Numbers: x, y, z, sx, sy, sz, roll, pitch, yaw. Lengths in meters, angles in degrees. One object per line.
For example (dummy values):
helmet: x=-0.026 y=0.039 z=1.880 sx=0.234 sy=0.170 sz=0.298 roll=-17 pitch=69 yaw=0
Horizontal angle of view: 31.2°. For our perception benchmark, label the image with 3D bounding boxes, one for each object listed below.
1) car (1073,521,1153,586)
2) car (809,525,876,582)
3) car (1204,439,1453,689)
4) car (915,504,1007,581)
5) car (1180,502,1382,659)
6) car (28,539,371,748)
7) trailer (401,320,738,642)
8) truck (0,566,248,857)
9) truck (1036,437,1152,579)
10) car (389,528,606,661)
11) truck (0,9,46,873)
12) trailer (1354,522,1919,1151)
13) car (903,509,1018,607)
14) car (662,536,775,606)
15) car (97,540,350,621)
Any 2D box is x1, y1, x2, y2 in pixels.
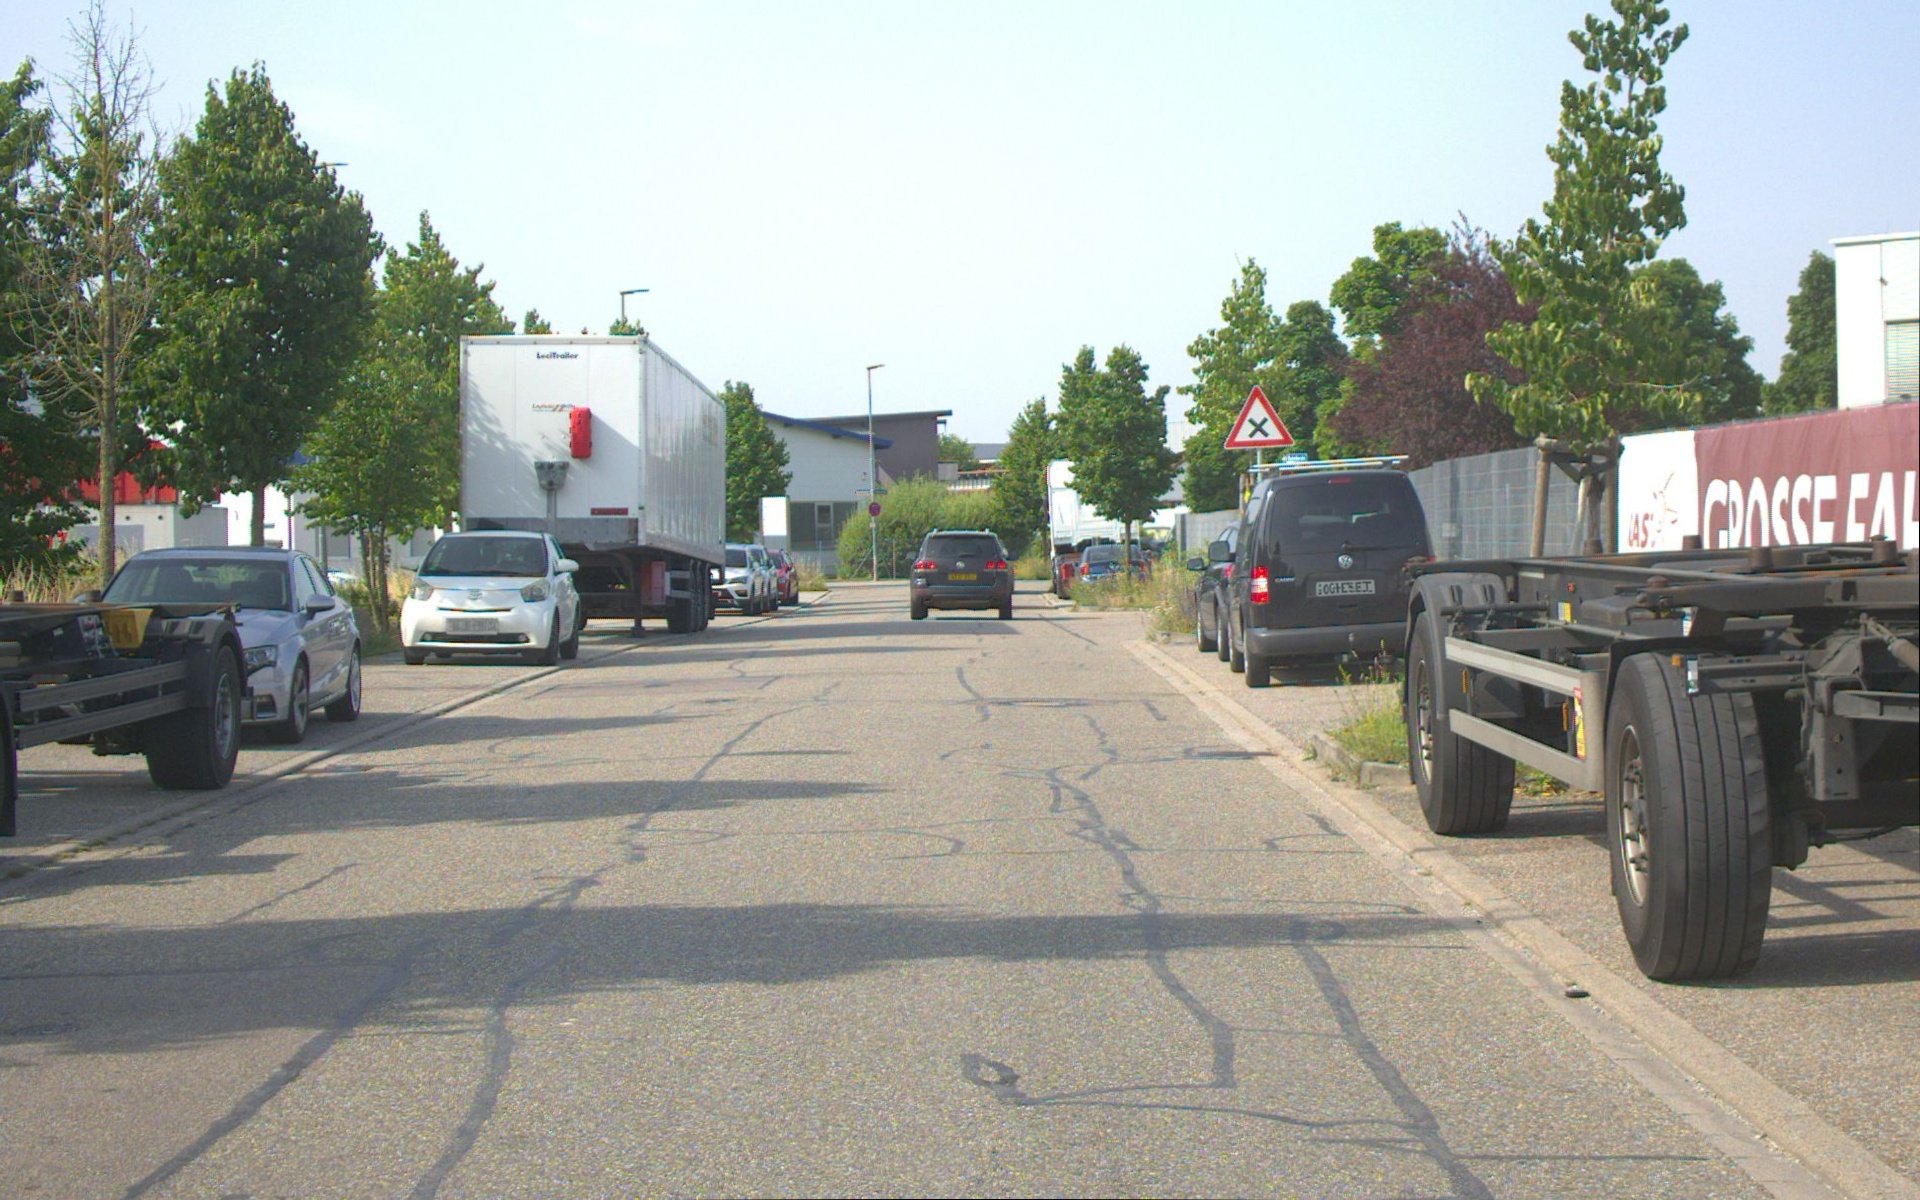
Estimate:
car: x=3.642 y=-1.123 z=82.221 sx=1.818 sy=1.444 sz=3.801 roll=-2 pitch=2 yaw=2
car: x=-3.740 y=-1.506 z=110.058 sx=1.993 sy=1.766 sz=4.000 roll=-1 pitch=1 yaw=0
car: x=3.229 y=-0.357 z=30.827 sx=1.818 sy=1.971 sz=4.000 roll=-4 pitch=1 yaw=2
car: x=0.052 y=-1.410 z=83.427 sx=1.994 sy=1.798 sz=4.000 roll=-1 pitch=2 yaw=3
car: x=3.333 y=-0.246 z=36.302 sx=1.818 sy=1.444 sz=3.801 roll=-4 pitch=2 yaw=2
car: x=-5.669 y=0.267 z=26.081 sx=1.884 sy=1.431 sz=4.001 roll=-1 pitch=1 yaw=-3
trailer: x=-5.754 y=-1.744 z=53.632 sx=3.404 sy=4.325 sz=13.920 roll=-1 pitch=1 yaw=1
truck: x=-5.705 y=0.519 z=18.172 sx=2.524 sy=1.261 sz=6.527 roll=-1 pitch=1 yaw=0
truck: x=3.626 y=-2.472 z=93.176 sx=2.887 sy=3.574 sz=8.061 roll=-2 pitch=1 yaw=2
car: x=-5.251 y=-0.100 z=39.500 sx=1.810 sy=1.422 sz=4.000 roll=-1 pitch=1 yaw=2
truck: x=-5.834 y=-0.615 z=9.836 sx=2.626 sy=3.915 sz=12.918 roll=0 pitch=1 yaw=2
trailer: x=3.330 y=0.454 z=12.841 sx=2.623 sy=1.383 sz=9.455 roll=-3 pitch=1 yaw=0
car: x=-0.026 y=-0.810 z=65.258 sx=1.993 sy=1.798 sz=4.001 roll=0 pitch=1 yaw=-2
car: x=-5.475 y=-0.676 z=78.437 sx=1.994 sy=1.517 sz=4.000 roll=-1 pitch=1 yaw=4
car: x=-12.831 y=-0.349 z=60.002 sx=3.988 sy=1.335 sz=1.617 roll=0 pitch=2 yaw=8
